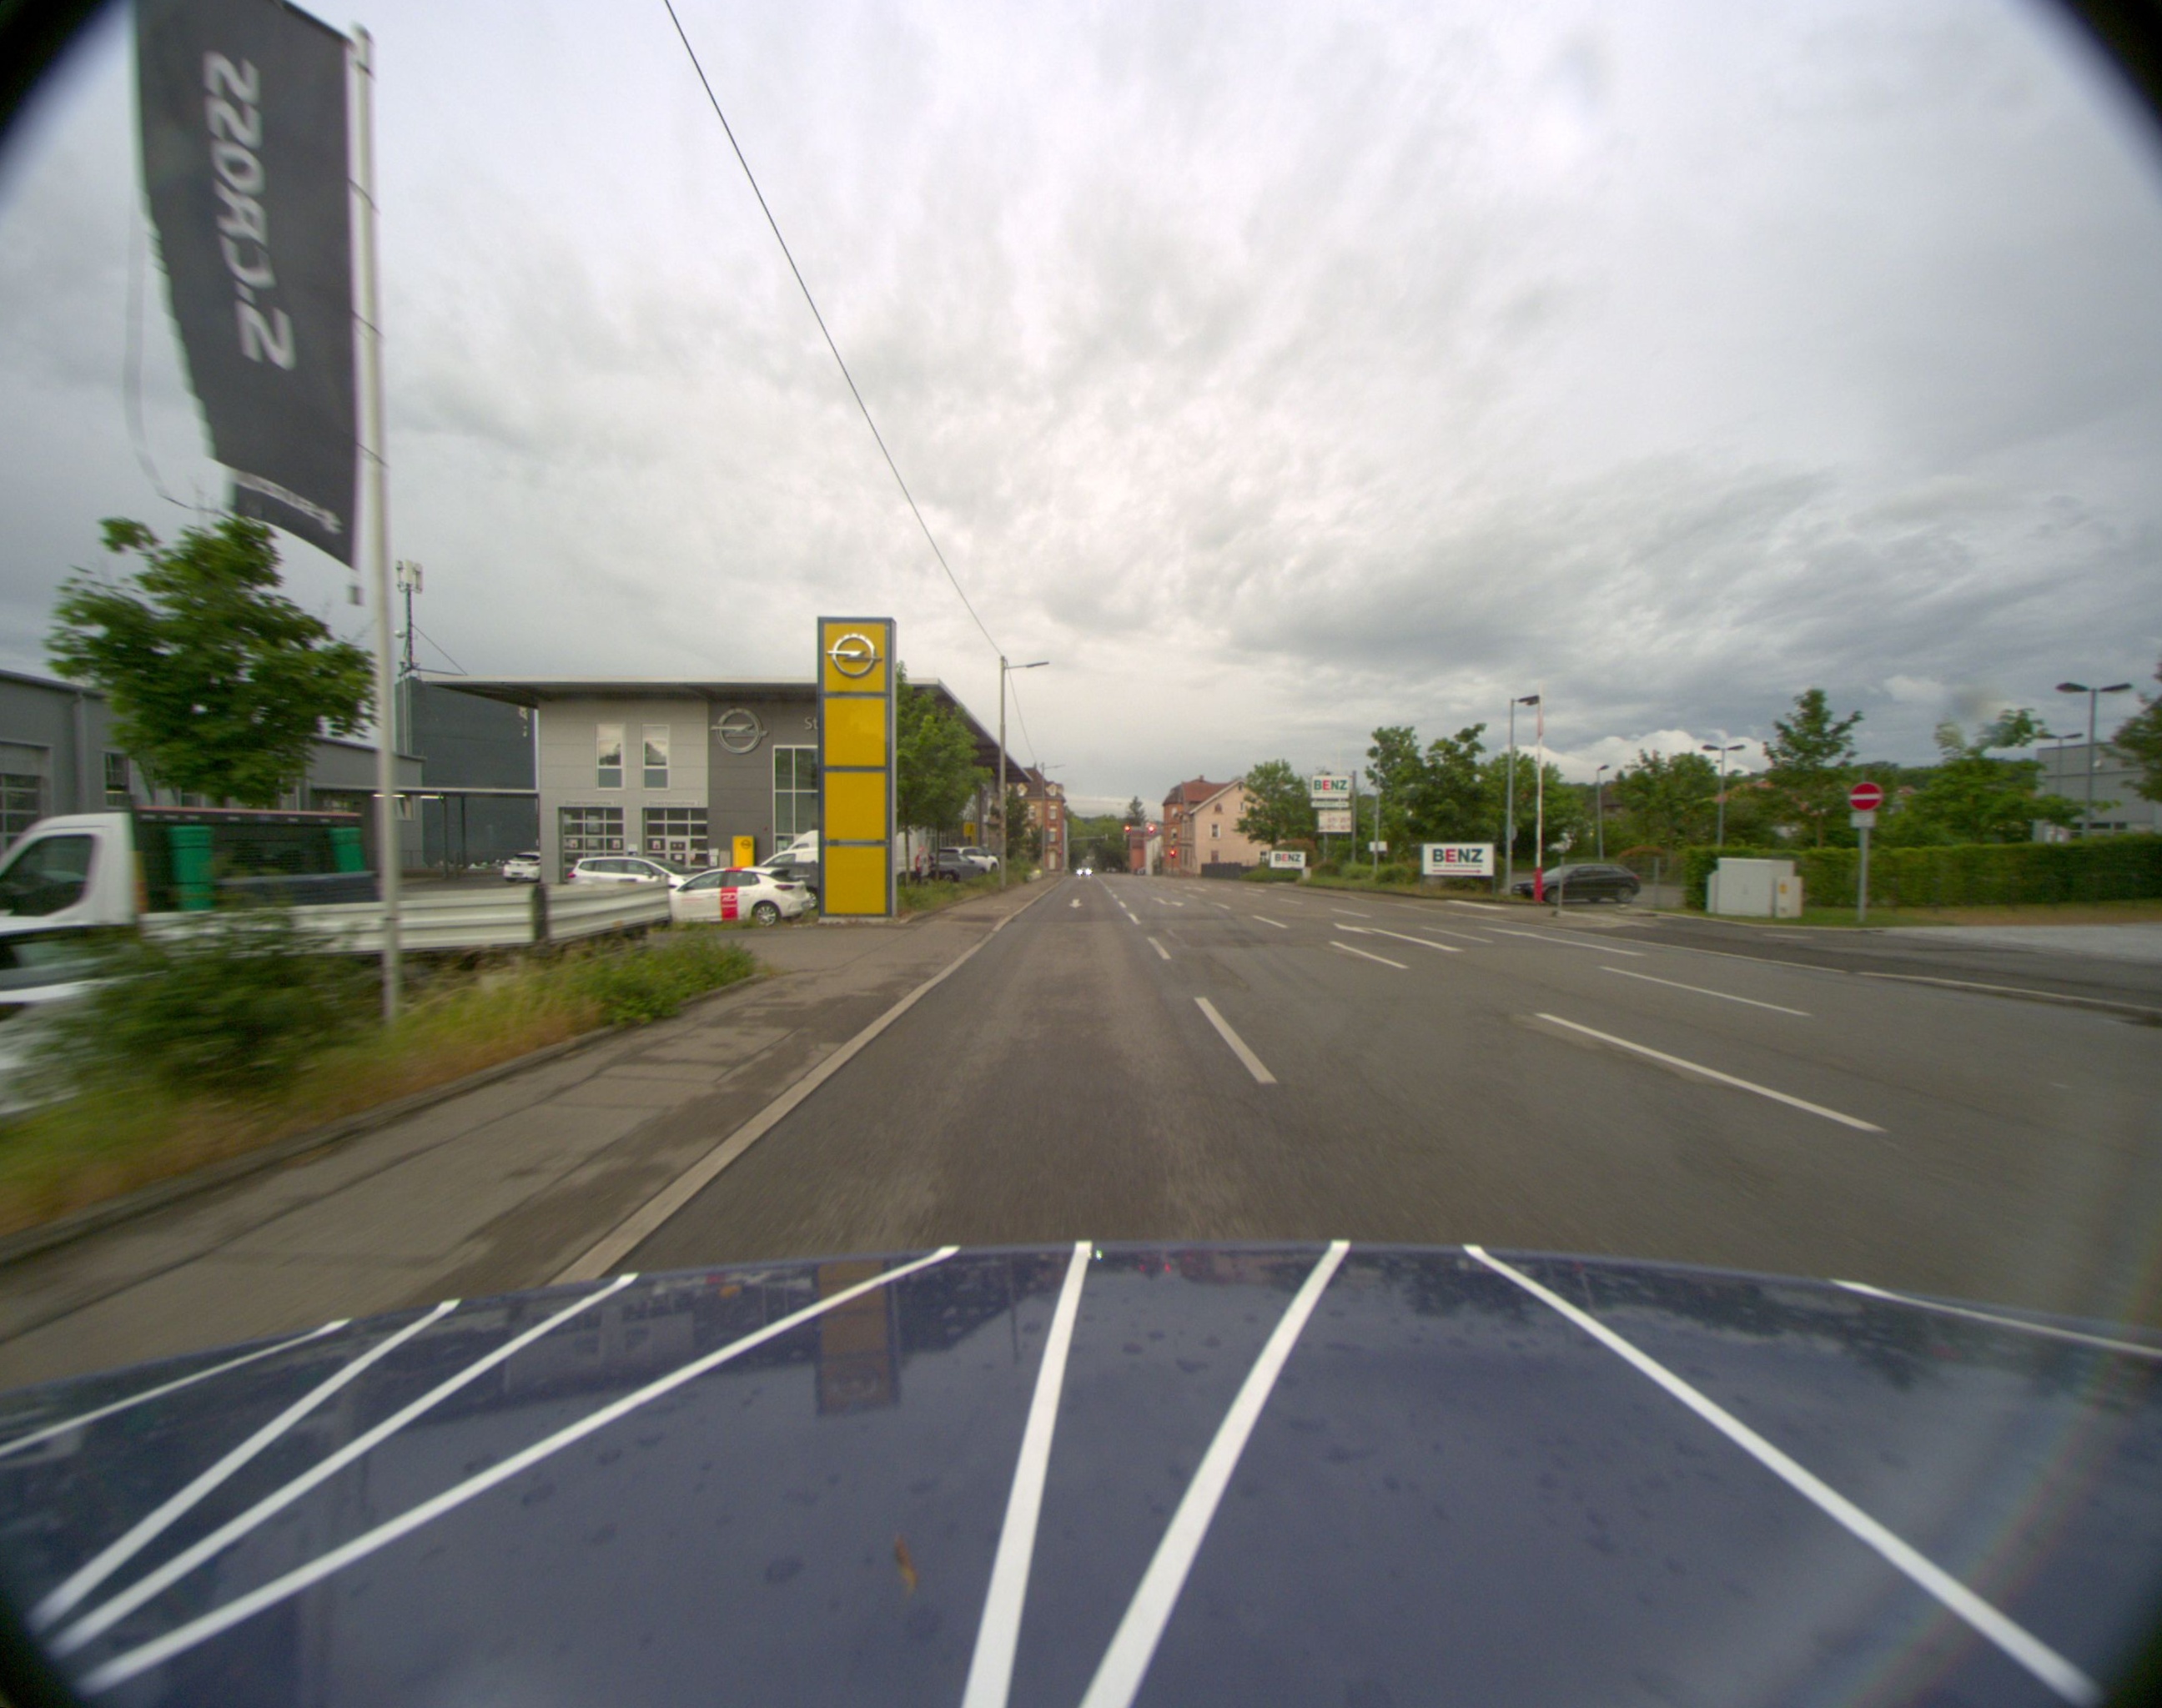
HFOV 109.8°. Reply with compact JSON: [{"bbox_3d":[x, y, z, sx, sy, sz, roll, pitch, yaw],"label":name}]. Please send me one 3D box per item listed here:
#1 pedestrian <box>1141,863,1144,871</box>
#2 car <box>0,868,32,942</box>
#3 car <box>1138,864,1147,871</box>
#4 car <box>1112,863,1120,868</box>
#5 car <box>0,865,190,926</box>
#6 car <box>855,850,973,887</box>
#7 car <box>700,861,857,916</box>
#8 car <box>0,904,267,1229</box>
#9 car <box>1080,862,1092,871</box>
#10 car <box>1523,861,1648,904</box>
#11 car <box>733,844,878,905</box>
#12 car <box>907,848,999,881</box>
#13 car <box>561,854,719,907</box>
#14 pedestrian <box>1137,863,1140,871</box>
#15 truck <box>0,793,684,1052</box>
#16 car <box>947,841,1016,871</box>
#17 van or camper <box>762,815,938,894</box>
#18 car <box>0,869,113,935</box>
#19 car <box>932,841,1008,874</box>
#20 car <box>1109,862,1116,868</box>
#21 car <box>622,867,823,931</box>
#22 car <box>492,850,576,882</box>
[{"bbox_3d":[12.635,2.670,155.679,0.642,1.696,0.911,-1,0,1],"label":"pedestrian"},{"bbox_3d":[-25.715,1.154,16.001,4.001,1.623,1.827,0,1,-13],"label":"car"},{"bbox_3d":[13.905,3.018,171.296,1.749,1.499,4.178,0,0,1],"label":"car"},{"bbox_3d":[9.375,3.112,203.319,1.789,1.402,4.198,2,0,-2],"label":"car"},{"bbox_3d":[-27.524,1.092,20.629,4.001,1.499,1.827,0,1,-13],"label":"car"},{"bbox_3d":[-7.046,0.585,32.349,4.528,1.446,1.910,0,2,-42],"label":"car"},{"bbox_3d":[-9.049,1.004,22.948,3.997,1.423,1.747,-1,3,1],"label":"car"},{"bbox_3d":[-7.747,1.228,4.555,3.701,1.661,1.736,-1,1,-3],"label":"car"},{"bbox_3d":[0.814,2.035,122.278,1.842,1.403,4.000,0,0,1],"label":"car"},{"bbox_3d":[18.231,1.022,27.531,3.496,1.455,1.543,-1,0,0],"label":"car"},{"bbox_3d":[-9.180,0.657,25.536,4.137,1.836,1.842,-1,3,3],"label":"car"},{"bbox_3d":[-6.113,0.479,36.832,1.910,1.446,4.580,2,1,28],"label":"car"},{"bbox_3d":[-14.630,0.855,25.397,4.150,1.630,1.866,-1,0,-1],"label":"car"},{"bbox_3d":[11.778,2.670,155.739,0.642,1.696,0.911,-1,0,1],"label":"pedestrian"},{"bbox_3d":[-7.034,0.559,7.286,5.161,2.002,2.345,-1,0,-1],"label":"truck"},{"bbox_3d":[-6.075,0.119,46.946,1.994,1.701,4.436,2,1,27],"label":"car"},{"bbox_3d":[-8.448,0.013,28.216,5.751,2.708,2.352,-1,0,0],"label":"van or camper"},{"bbox_3d":[-26.738,1.156,18.172,4.004,1.499,1.826,-1,1,-21],"label":"car"},{"bbox_3d":[-6.054,0.151,42.152,1.995,1.701,4.585,2,1,24],"label":"car"},{"bbox_3d":[8.881,3.144,214.399,1.816,1.537,4.199,3,0,0],"label":"car"},{"bbox_3d":[-8.647,1.068,18.564,3.996,1.420,1.895,-1,0,1],"label":"car"},{"bbox_3d":[-26.178,0.557,36.507,2.001,1.412,3.994,-1,0,-16],"label":"car"}]
